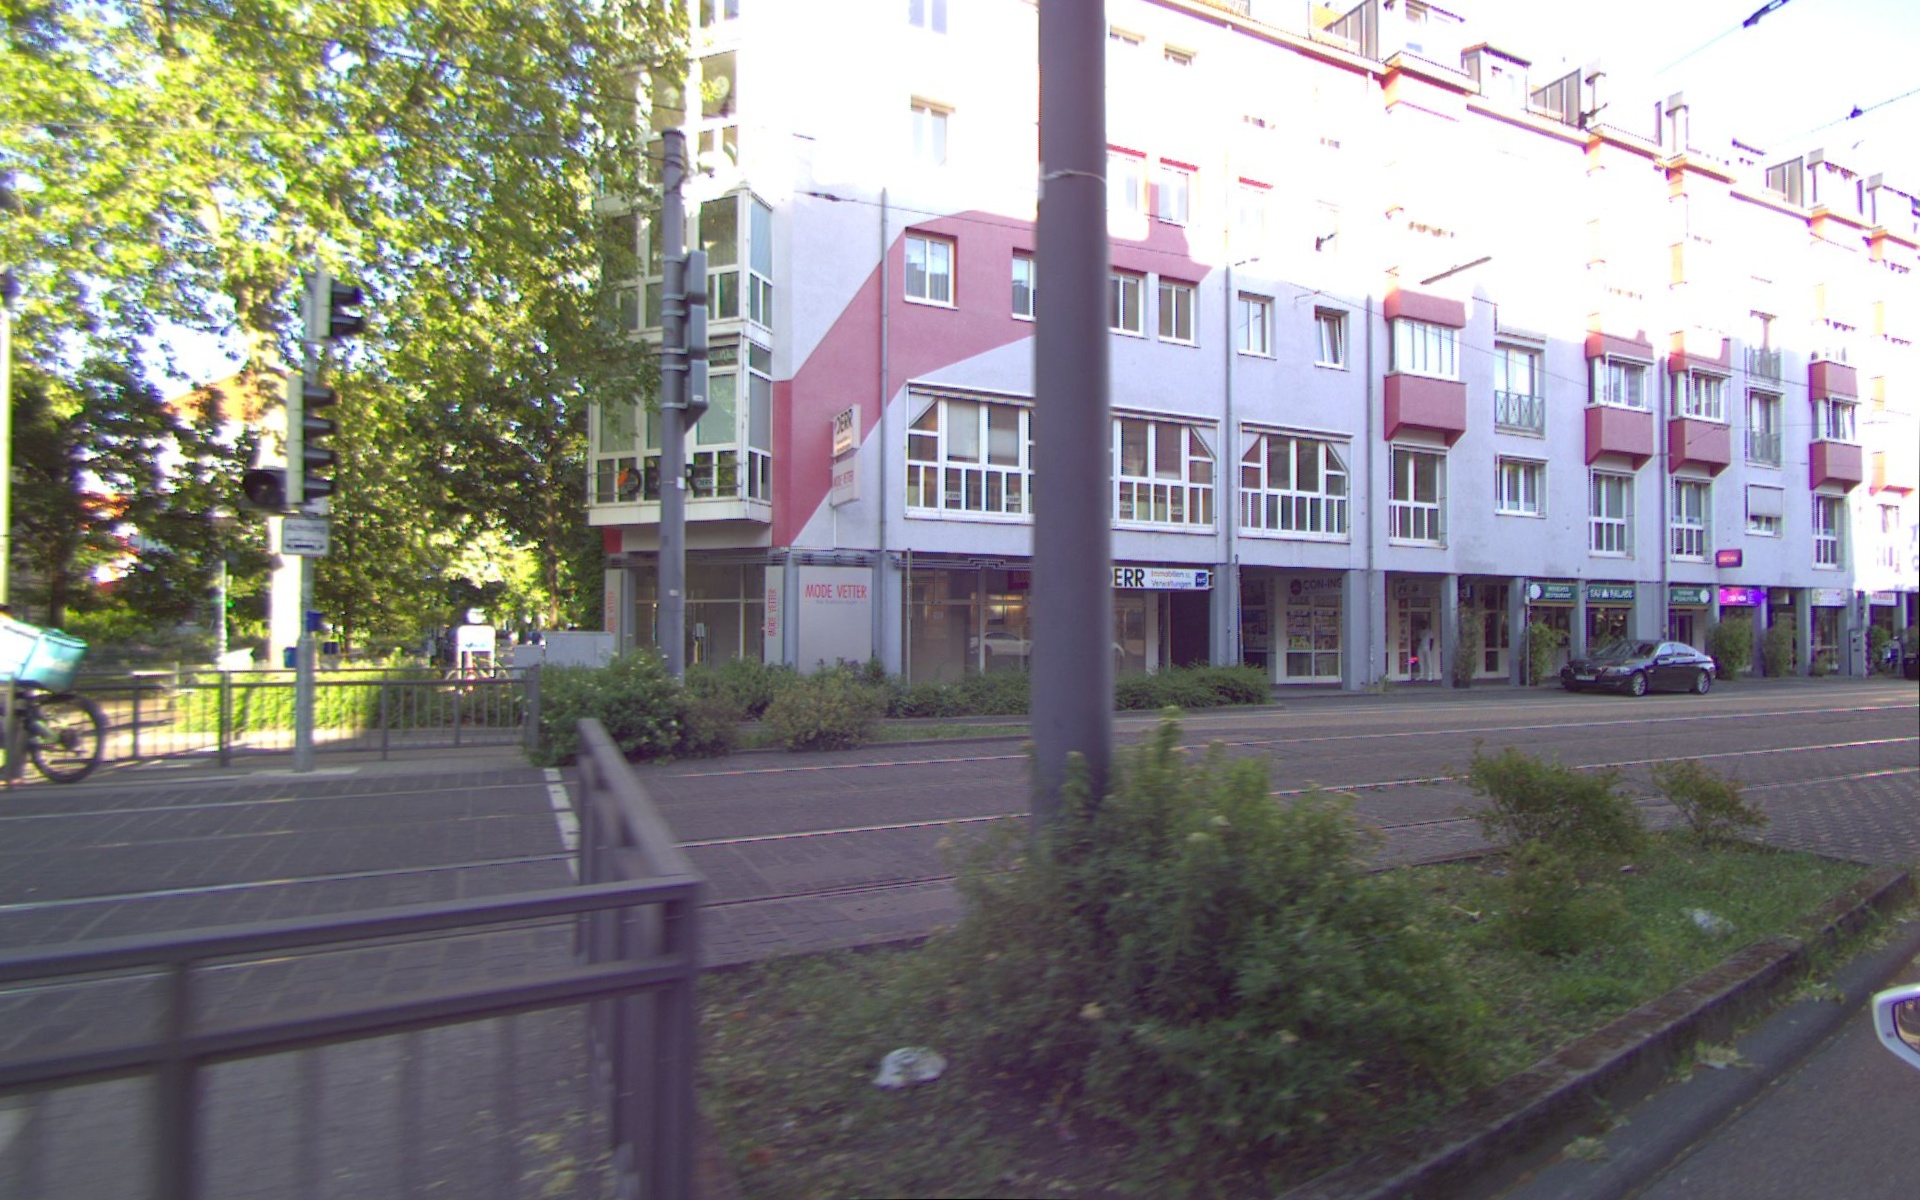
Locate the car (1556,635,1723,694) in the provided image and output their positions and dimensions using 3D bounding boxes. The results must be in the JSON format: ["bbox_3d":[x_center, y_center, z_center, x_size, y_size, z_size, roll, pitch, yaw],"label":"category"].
[{"bbox_3d":[18.704,1.725,27.605,4.648,1.458,1.862,1,-1,-28],"label":"car"}]

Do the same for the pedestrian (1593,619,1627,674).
[{"bbox_3d":[20.870,1.492,32.264,0.736,1.734,0.612,1,-1,-27],"label":"pedestrian"}]

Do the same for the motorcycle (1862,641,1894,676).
[{"bbox_3d":[33.246,2.114,36.373,2.125,1.221,0.663,2,-1,-42],"label":"motorcycle"}]

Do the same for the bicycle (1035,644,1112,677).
[{"bbox_3d":[2.526,1.333,22.237,1.789,0.667,0.453,1,1,-31],"label":"bicycle"}]

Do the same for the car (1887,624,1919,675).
[{"bbox_3d":[35.440,1.803,35.719,4.756,1.735,2.083,2,-1,-26],"label":"car"}]

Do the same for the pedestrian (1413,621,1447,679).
[{"bbox_3d":[14.326,1.520,30.620,0.608,1.734,0.740,1,-1,-29],"label":"pedestrian"}]

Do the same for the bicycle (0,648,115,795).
[{"bbox_3d":[-8.292,1.010,8.763,1.862,1.092,0.584,2,1,21],"label":"bicycle"}]

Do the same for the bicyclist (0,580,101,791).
[{"bbox_3d":[-7.939,0.712,8.638,0.731,1.734,0.534,0,-1,19],"label":"bicyclist"}]
